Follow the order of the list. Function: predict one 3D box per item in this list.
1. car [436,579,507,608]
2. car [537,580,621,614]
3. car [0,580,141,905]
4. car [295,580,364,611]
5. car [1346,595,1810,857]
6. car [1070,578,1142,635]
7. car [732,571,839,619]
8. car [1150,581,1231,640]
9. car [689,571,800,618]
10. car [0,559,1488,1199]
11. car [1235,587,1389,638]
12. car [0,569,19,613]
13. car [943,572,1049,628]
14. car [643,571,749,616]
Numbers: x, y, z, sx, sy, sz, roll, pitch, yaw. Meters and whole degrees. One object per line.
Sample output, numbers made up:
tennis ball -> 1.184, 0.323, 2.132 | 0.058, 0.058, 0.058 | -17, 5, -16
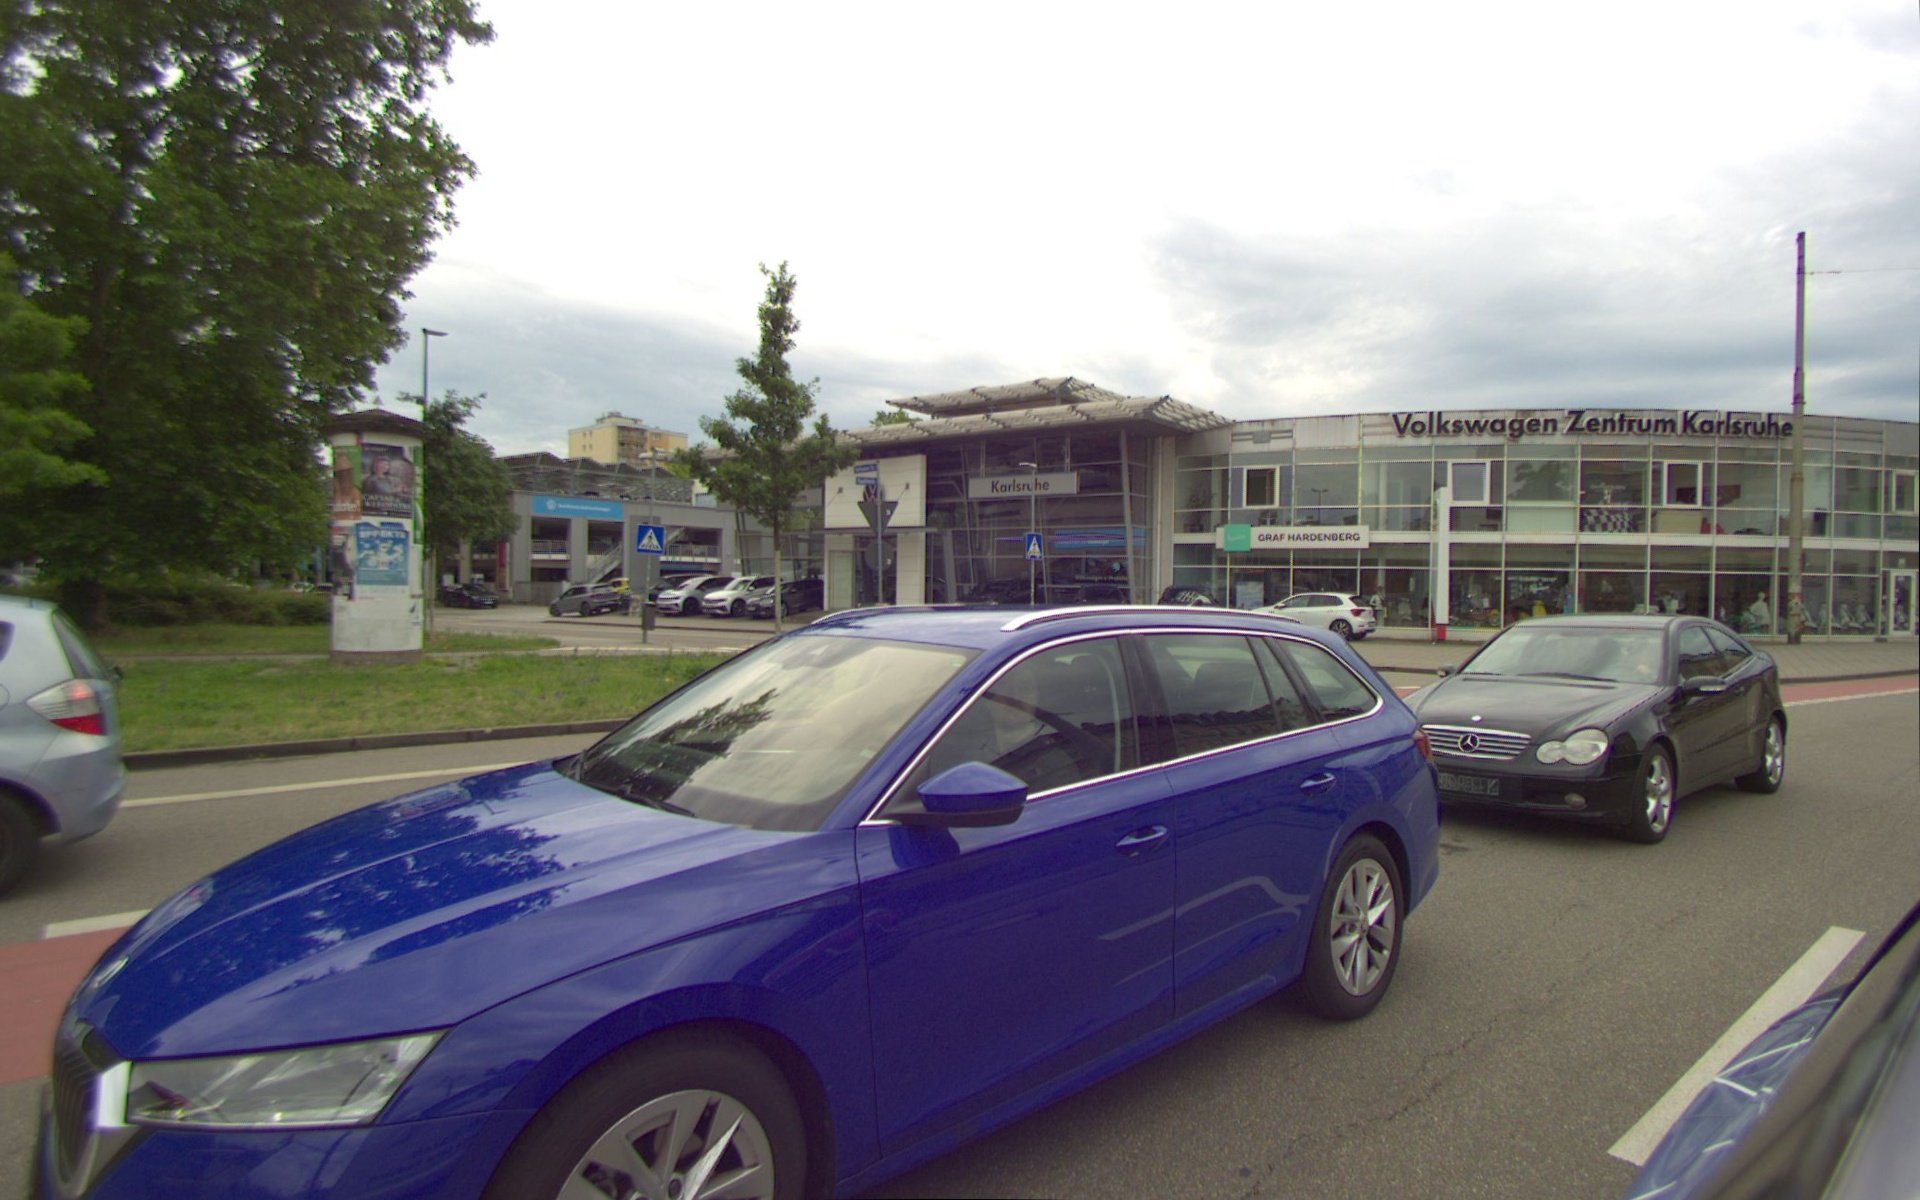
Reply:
car -> -28.989, -0.405, 60.046 | 4.446, 1.567, 1.876 | 2, 2, 35
car -> -18.641, -0.166, 49.494 | 3.988, 1.583, 1.896 | 0, 2, 35
car -> -6.124, 0.649, 4.325 | 4.027, 1.485, 1.752 | 0, 1, -41
car -> -37.066, -0.290, 59.500 | 4.446, 1.643, 1.838 | 2, 2, 35
car -> 4.779, 0.703, 7.613 | 3.996, 1.439, 1.714 | 0, 1, -39
car -> 4.706, 0.154, 33.123 | 1.824, 1.522, 4.340 | 0, 4, 2
car -> -7.319, -0.251, 42.847 | 1.886, 1.717, 4.421 | 0, 4, 36
car -> 7.354, 0.276, 32.742 | 1.867, 1.581, 4.219 | 1, 3, 4
car -> -9.402, -0.277, 44.593 | 1.850, 1.719, 4.716 | 0, 4, 36
car -> -0.096, 0.659, 3.358 | 4.387, 1.507, 1.783 | -1, 2, -41
car -> 11.010, 0.356, 31.790 | 4.243, 1.471, 1.757 | 1, 1, 40
car -> -36.503, -0.334, 36.331 | 4.408, 1.567, 1.854 | 1, 1, 13
car -> 1.355, -0.052, 35.855 | 1.846, 1.652, 4.464 | 0, 4, 31
car -> -11.983, -0.333, 46.187 | 1.859, 1.719, 4.419 | 0, 4, 37
